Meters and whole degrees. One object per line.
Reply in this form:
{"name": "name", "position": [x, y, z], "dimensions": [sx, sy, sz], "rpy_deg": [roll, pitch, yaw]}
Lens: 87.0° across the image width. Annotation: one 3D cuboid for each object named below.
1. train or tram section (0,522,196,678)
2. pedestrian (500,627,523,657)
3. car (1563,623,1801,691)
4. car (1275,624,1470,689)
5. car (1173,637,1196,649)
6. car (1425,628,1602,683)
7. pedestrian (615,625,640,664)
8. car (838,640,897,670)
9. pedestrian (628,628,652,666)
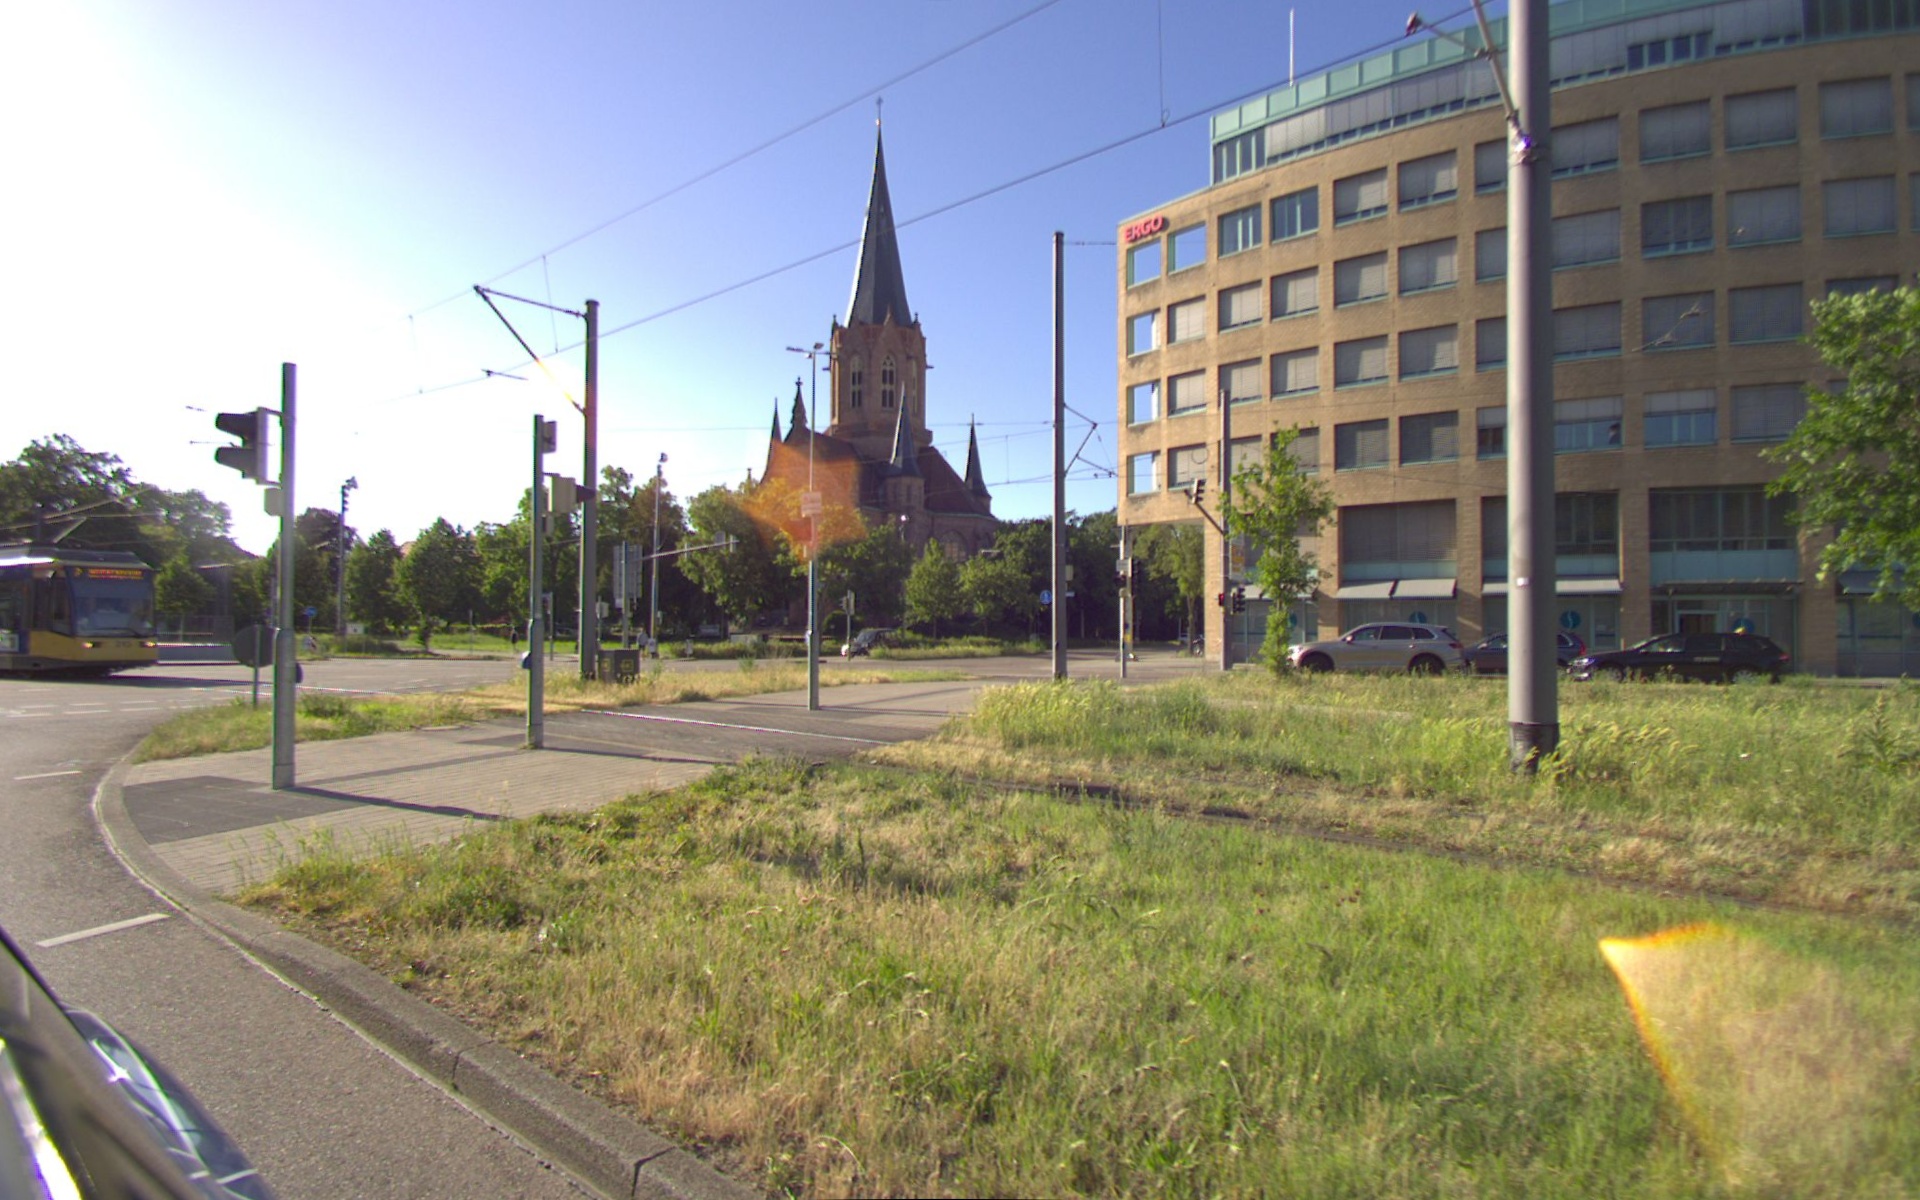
{"name": "train or tram section", "position": [-26.835, 0.141, 28.305], "dimensions": [13.107, 3.713, 2.934], "rpy_deg": [-1, -2, 25]}
{"name": "pedestrian", "position": [-28.559, 2.673, 64.471], "dimensions": [1.108, 1.860, 0.838], "rpy_deg": [0, 0, 24]}
{"name": "car", "position": [18.316, 1.397, 25.987], "dimensions": [4.635, 1.528, 1.983], "rpy_deg": [0, 0, 25]}
{"name": "car", "position": [11.859, 1.576, 29.276], "dimensions": [5.056, 1.747, 2.089], "rpy_deg": [-1, -2, 25]}
{"name": "car", "position": [31.104, 5.956, 140.272], "dimensions": [1.832, 1.586, 3.899], "rpy_deg": [0, -1, 33]}
{"name": "car", "position": [18.807, 1.845, 34.731], "dimensions": [5.183, 1.681, 2.106], "rpy_deg": [0, 0, 26]}
{"name": "pedestrian", "position": [-17.917, 2.388, 54.486], "dimensions": [0.921, 2.029, 0.871], "rpy_deg": [0, 0, 27]}
{"name": "car", "position": [-5.619, 3.354, 61.863], "dimensions": [1.829, 1.586, 3.906], "rpy_deg": [0, 0, 28]}
{"name": "pedestrian", "position": [-17.502, 2.543, 55.388], "dimensions": [0.921, 2.029, 0.871], "rpy_deg": [0, 0, 27]}
